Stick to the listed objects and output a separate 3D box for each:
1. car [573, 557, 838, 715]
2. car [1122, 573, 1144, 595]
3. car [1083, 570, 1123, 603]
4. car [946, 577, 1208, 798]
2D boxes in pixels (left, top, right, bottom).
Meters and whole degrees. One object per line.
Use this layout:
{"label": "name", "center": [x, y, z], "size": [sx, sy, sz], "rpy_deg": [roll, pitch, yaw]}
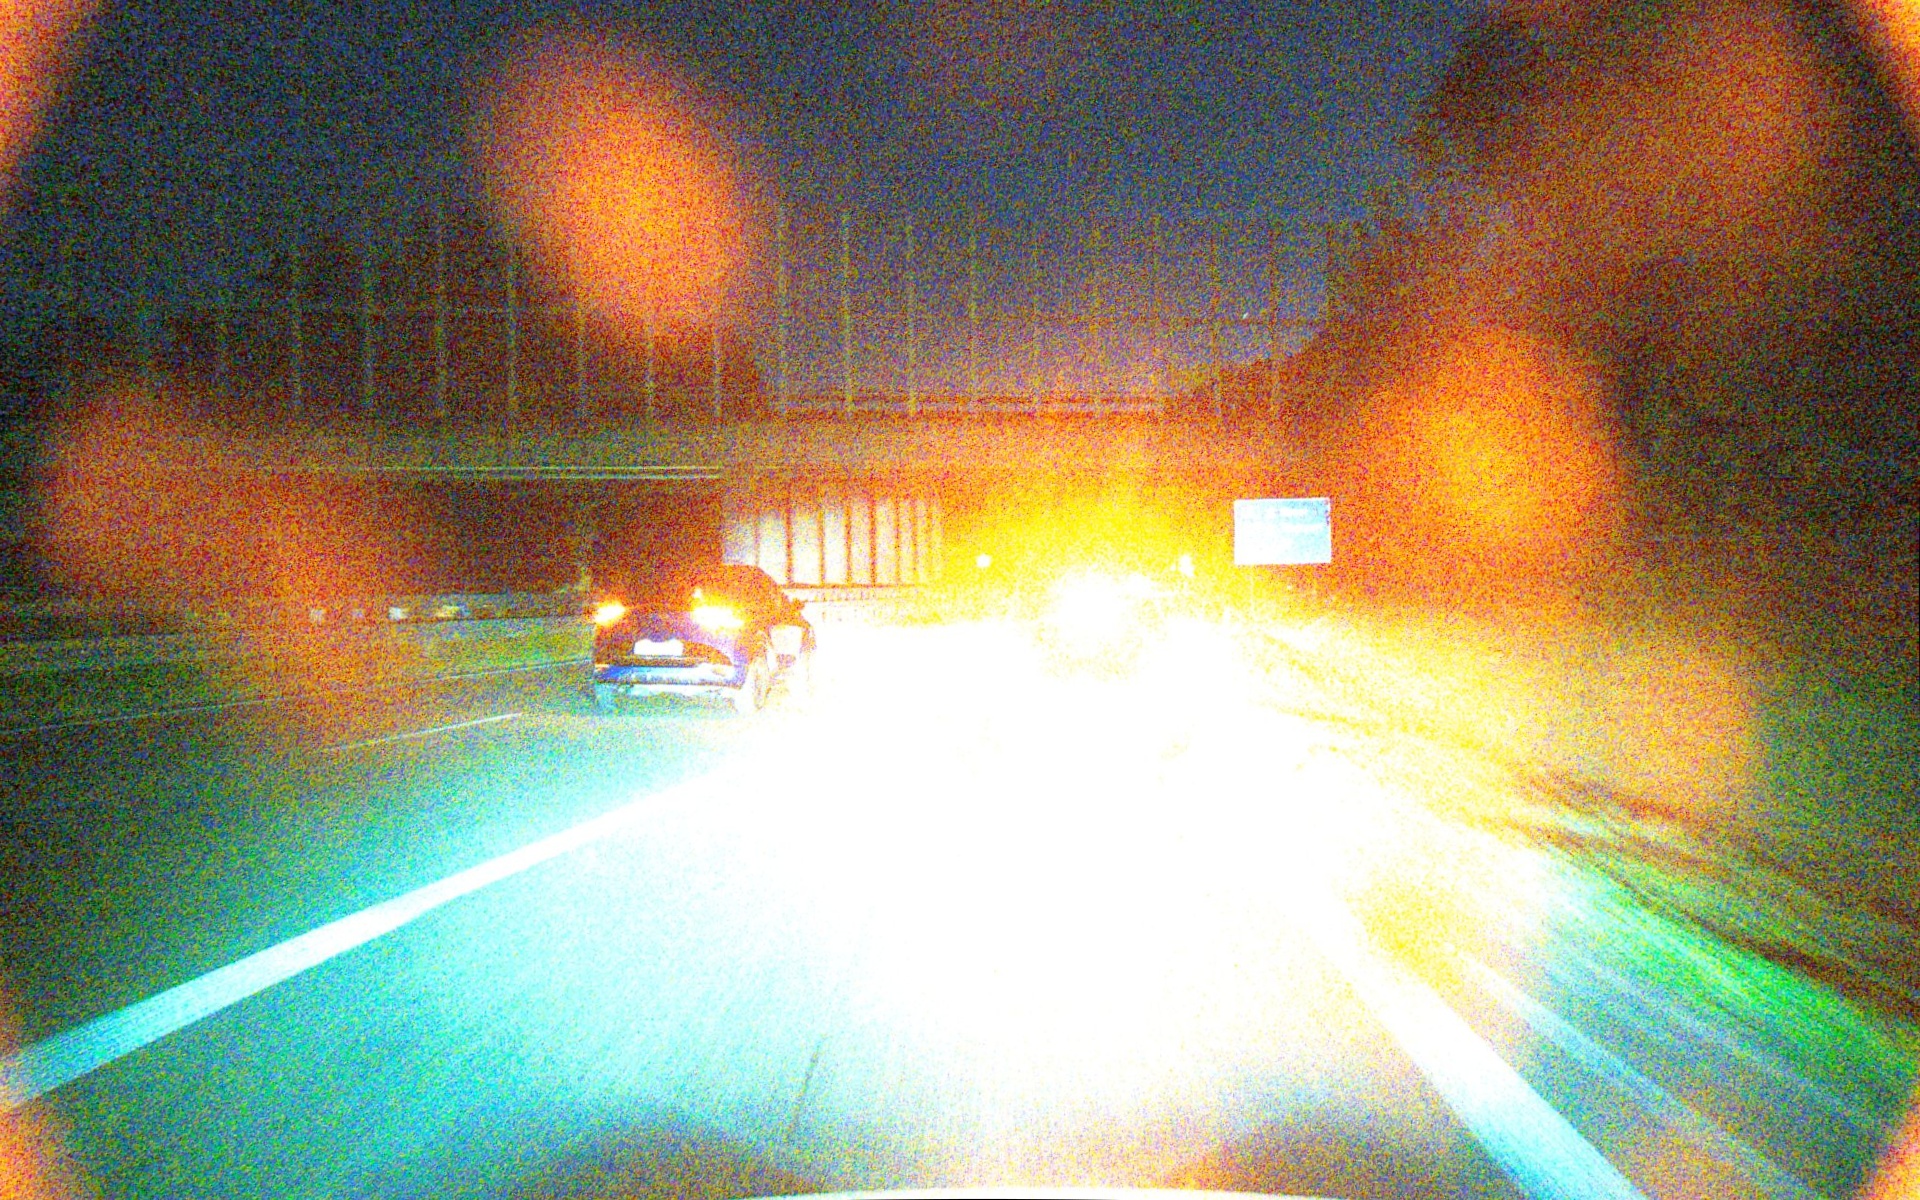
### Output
{"label": "car", "center": [-2.880, 0.358, 19.842], "size": [1.899, 1.636, 4.647], "rpy_deg": [1, 1, 7]}
{"label": "car", "center": [13.584, -1.279, 129.587], "size": [1.696, 1.646, 3.801], "rpy_deg": [0, 1, 6]}
{"label": "car", "center": [7.672, -0.696, 88.453], "size": [1.910, 1.564, 4.244], "rpy_deg": [-5, -1, 6]}
{"label": "car", "center": [0.801, 0.589, 13.506], "size": [1.657, 1.503, 3.998], "rpy_deg": [1, 1, -3]}
